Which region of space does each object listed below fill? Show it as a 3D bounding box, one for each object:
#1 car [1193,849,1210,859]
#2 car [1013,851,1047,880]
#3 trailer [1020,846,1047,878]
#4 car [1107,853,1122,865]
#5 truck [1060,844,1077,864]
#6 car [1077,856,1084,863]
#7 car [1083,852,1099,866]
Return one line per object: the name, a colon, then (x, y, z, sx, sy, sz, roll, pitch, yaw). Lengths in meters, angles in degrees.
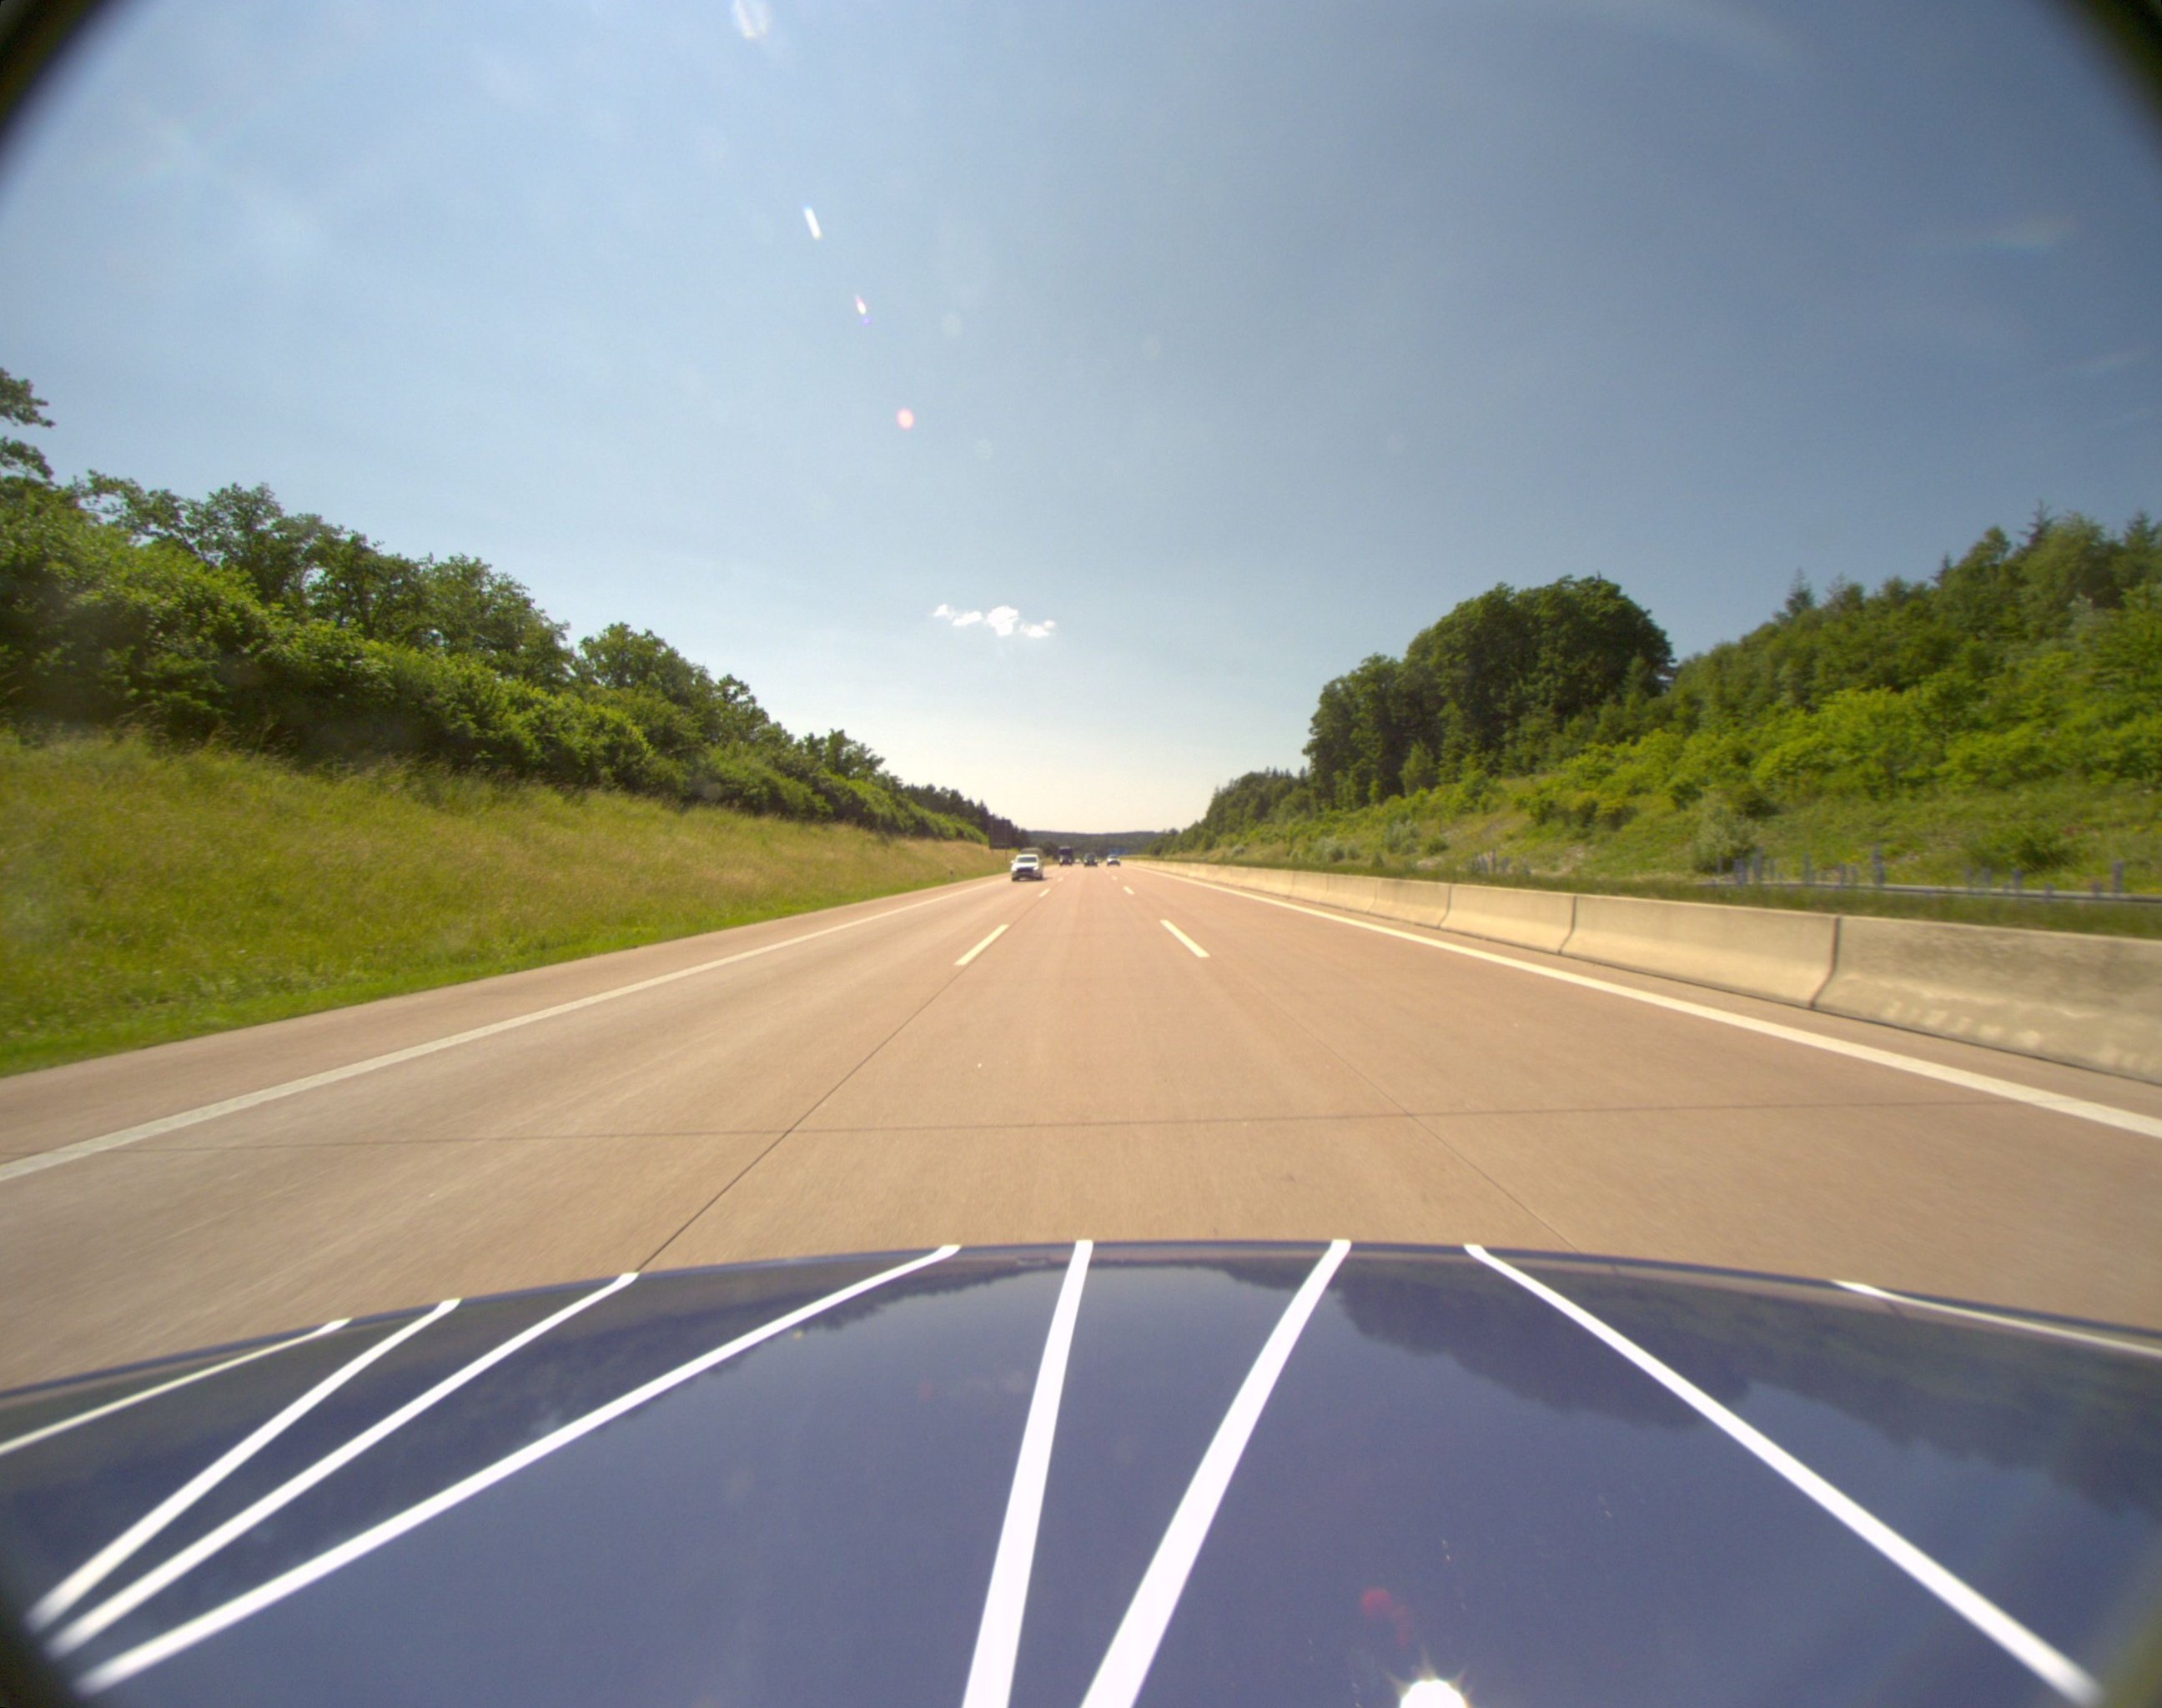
car: (20.441, -0.016, 129.069, 1.896, 1.642, 4.663, -2, -1, -1)
car: (-3.294, 0.713, 49.865, 1.896, 1.718, 5.185, -2, 0, -1)
trailer: (-3.382, 0.561, 54.441, 1.662, 2.151, 4.016, -2, 0, 0)
car: (4.799, 0.754, 110.194, 1.895, 1.718, 4.564, -2, -1, 0)
truck: (-2.082, 0.084, 129.468, 2.508, 3.199, 7.786, -2, -1, 2)
car: (-0.211, 1.833, 254.870, 1.998, 2.001, 4.000, -2, 0, 0)
car: (1.424, 0.666, 104.981, 1.998, 1.805, 4.565, -2, 0, 3)
